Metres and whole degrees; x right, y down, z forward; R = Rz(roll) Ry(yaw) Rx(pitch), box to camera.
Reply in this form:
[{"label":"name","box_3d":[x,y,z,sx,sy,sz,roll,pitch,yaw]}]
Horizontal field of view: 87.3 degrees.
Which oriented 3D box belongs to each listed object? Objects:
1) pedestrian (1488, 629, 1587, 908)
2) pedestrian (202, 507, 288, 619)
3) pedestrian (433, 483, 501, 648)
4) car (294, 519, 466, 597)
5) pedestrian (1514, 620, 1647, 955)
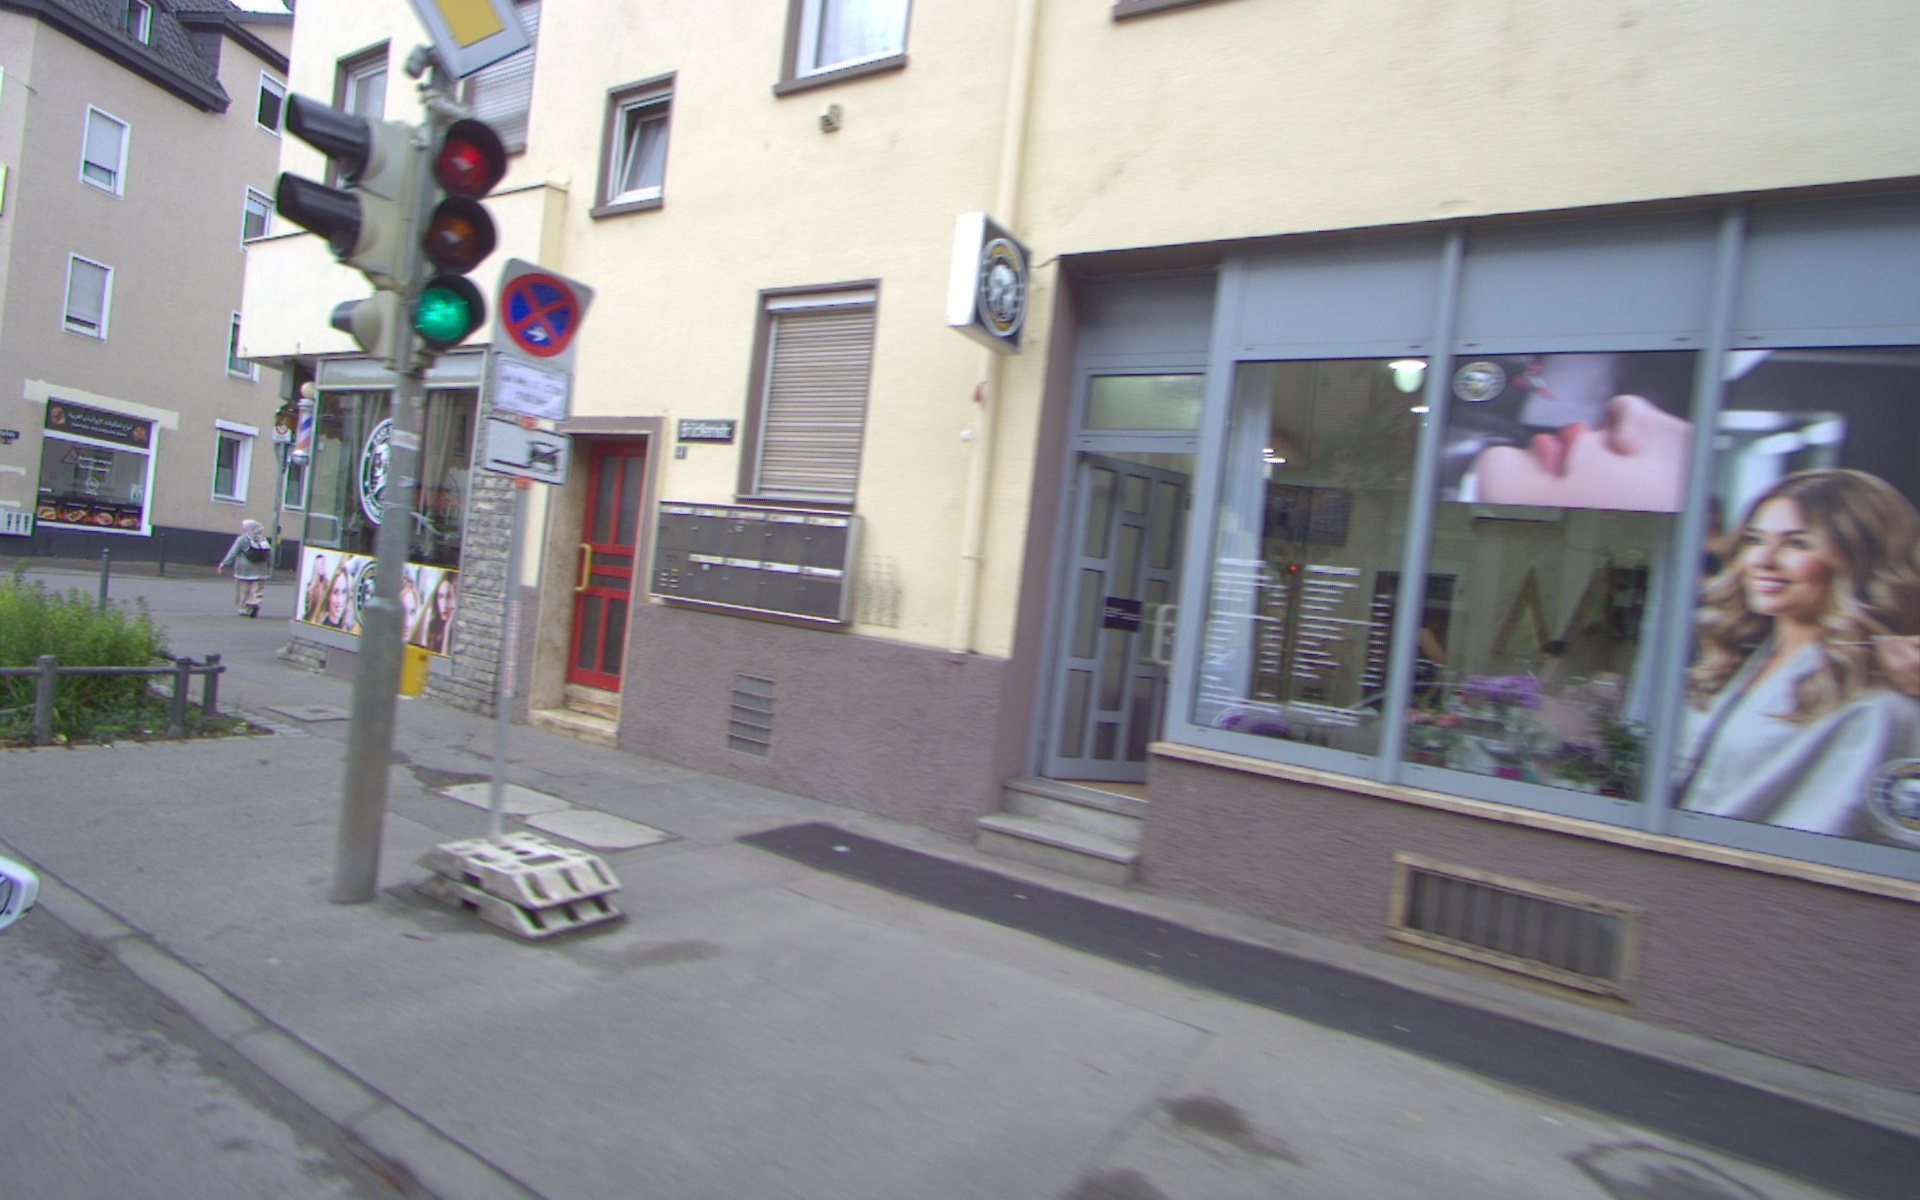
[{"label":"pedestrian","box_3d":[3.408,0.972,5.933,0.352,1.549,0.372,6,-1,34]},{"label":"pedestrian","box_3d":[-11.471,-0.575,16.160,0.786,1.685,0.675,6,1,-5]},{"label":"pedestrian","box_3d":[-5.543,-0.375,11.327,0.380,1.795,0.396,6,-1,-2]},{"label":"car","box_3d":[-16.443,-1.124,28.801,1.850,1.640,4.238,6,-2,10]},{"label":"pedestrian","box_3d":[3.088,0.901,5.010,0.412,1.549,0.372,6,-1,34]}]
